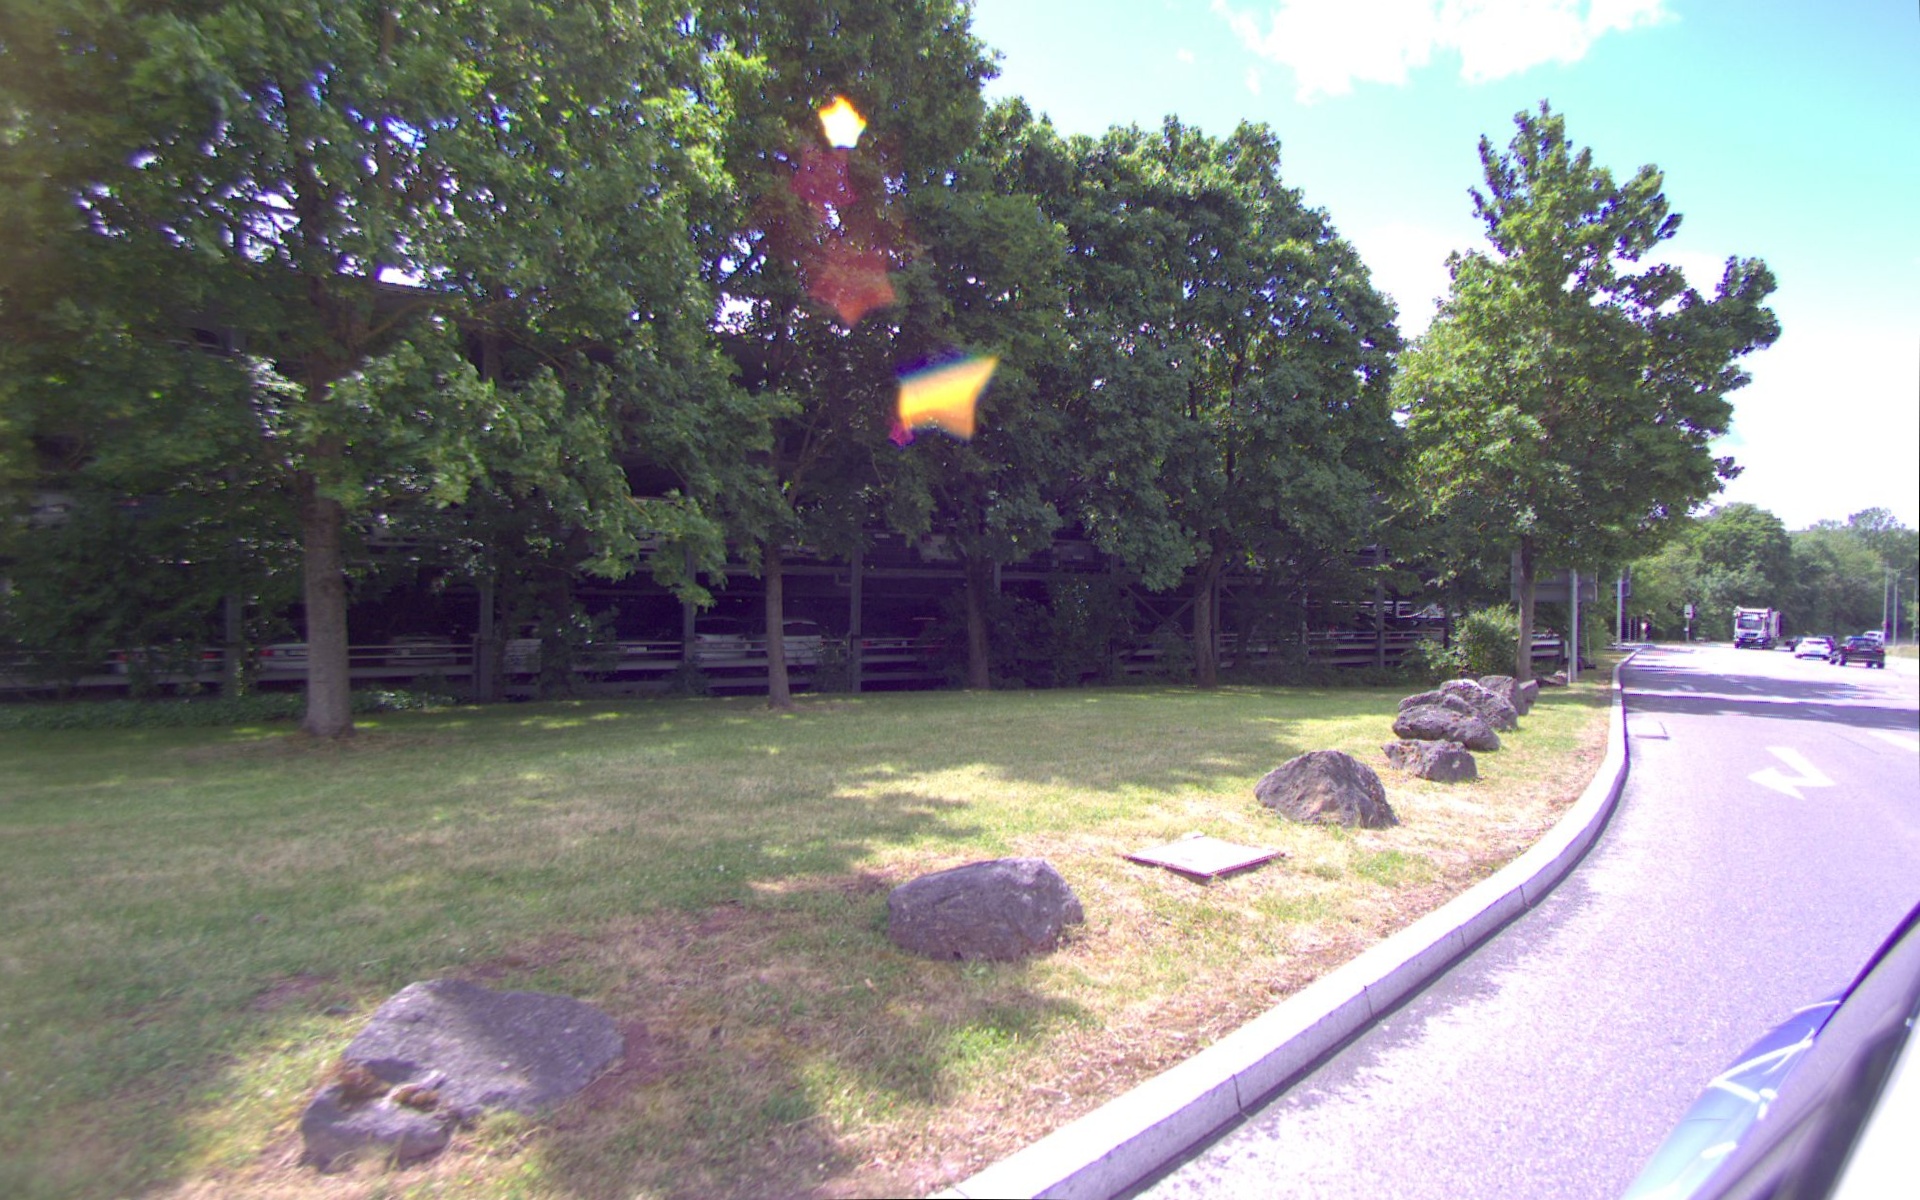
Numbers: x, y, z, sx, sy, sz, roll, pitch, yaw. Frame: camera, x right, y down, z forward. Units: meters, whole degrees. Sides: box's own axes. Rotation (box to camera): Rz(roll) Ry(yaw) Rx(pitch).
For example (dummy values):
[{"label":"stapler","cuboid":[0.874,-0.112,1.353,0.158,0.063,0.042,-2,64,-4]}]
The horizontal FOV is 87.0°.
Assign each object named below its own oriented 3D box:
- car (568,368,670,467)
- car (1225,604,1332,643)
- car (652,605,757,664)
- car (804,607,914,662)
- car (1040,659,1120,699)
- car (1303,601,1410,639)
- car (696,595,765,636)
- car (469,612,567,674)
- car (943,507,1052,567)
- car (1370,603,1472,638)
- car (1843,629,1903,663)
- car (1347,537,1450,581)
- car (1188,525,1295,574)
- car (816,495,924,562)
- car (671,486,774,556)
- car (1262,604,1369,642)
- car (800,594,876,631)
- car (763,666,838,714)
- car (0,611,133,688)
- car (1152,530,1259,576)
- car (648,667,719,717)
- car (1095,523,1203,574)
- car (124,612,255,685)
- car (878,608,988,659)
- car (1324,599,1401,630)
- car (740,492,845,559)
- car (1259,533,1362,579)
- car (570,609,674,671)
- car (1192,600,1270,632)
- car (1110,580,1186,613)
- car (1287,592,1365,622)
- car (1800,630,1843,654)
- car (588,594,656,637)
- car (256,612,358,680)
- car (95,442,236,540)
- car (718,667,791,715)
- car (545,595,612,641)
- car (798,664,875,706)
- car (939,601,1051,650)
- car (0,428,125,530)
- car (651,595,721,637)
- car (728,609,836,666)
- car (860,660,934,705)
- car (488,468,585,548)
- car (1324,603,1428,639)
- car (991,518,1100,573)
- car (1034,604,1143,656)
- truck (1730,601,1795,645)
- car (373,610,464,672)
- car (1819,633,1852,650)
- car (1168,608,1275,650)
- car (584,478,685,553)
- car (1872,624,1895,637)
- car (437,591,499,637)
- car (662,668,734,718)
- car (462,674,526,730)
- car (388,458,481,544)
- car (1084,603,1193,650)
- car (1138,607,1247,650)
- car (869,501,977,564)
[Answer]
[{"label":"car","cuboid":[-8.910,-4.622,26.228,1.831,1.683,4.003,0,-2,-29]},{"label":"car","cuboid":[12.364,0.884,39.508,1.661,1.410,3.861,1,0,-31]},{"label":"car","cuboid":[-6.986,0.890,27.395,1.741,1.410,3.802,1,0,-31]},{"label":"car","cuboid":[-2.997,0.961,29.447,1.741,1.410,3.802,1,0,-31]},{"label":"car","cuboid":[5.582,3.662,47.429,1.661,1.465,3.862,1,1,-31]},{"label":"car","cuboid":[16.145,0.778,41.325,1.661,1.410,3.861,1,0,-31]},{"label":"car","cuboid":[-9.063,0.591,39.770,1.563,1.388,3.788,1,1,-31]},{"label":"car","cuboid":[-10.923,1.007,24.874,1.741,1.309,3.802,1,0,-31]},{"label":"car","cuboid":[1.135,-1.937,32.086,1.692,1.640,3.707,3,-1,-30]},{"label":"car","cuboid":[20.253,0.898,44.599,1.661,1.410,3.861,1,0,-31]},{"label":"car","cuboid":[49.793,2.451,55.241,1.815,1.675,4.475,2,0,35]},{"label":"car","cuboid":[18.396,-1.671,42.614,1.626,1.640,3.707,3,-1,-30]},{"label":"car","cuboid":[10.398,-1.835,37.576,1.626,1.582,3.707,3,-1,-30]},{"label":"car","cuboid":[-2.686,-2.031,29.657,1.692,1.640,3.707,3,-1,-30]},{"label":"car","cuboid":[-6.553,-2.081,27.692,1.692,1.561,3.707,3,-1,-30]},{"label":"car","cuboid":[14.124,0.886,40.376,1.661,1.410,3.861,1,0,-31]},{"label":"car","cuboid":[-5.083,0.493,41.743,1.741,1.410,3.802,1,0,-31]},{"label":"car","cuboid":[-6.356,3.518,40.096,1.607,1.388,3.788,1,1,-31]},{"label":"car","cuboid":[-18.007,0.917,20.211,1.741,1.309,3.802,1,0,-31]},{"label":"car","cuboid":[8.849,-1.653,36.713,1.626,1.449,3.707,3,-1,-30]},{"label":"car","cuboid":[-10.387,3.377,37.842,1.607,1.388,3.788,1,1,-31]},{"label":"car","cuboid":[6.636,-1.781,35.863,1.692,1.561,3.707,3,-1,-30]},{"label":"car","cuboid":[-16.165,0.952,21.401,1.741,1.309,3.802,1,0,-31]},{"label":"car","cuboid":[-0.907,0.989,31.163,1.741,1.410,3.802,1,0,-31]},{"label":"car","cuboid":[23.669,0.812,59.658,1.733,1.570,3.941,1,2,-30]},{"label":"car","cuboid":[-4.779,-2.037,28.506,1.692,1.561,3.707,3,-1,-30]},{"label":"car","cuboid":[14.114,-1.747,40.918,1.626,1.640,3.707,3,-1,-30]},{"label":"car","cuboid":[-8.744,0.970,25.988,1.741,1.410,3.802,1,0,-31]},{"label":"car","cuboid":[14.188,0.815,53.197,1.661,1.504,3.862,1,1,-31]},{"label":"car","cuboid":[9.512,-0.200,51.500,1.661,1.504,3.862,1,1,-31]},{"label":"car","cuboid":[20.349,0.366,56.457,1.718,1.460,3.862,1,1,-31]},{"label":"car","cuboid":[59.616,2.891,70.082,1.760,1.460,3.853,2,1,33]},{"label":"car","cuboid":[-12.464,0.539,37.193,1.563,1.388,3.788,1,1,-31]},{"label":"car","cuboid":[-14.441,0.963,22.547,1.741,1.309,3.802,1,0,-31]},{"label":"car","cuboid":[-16.363,-2.161,21.029,1.692,1.561,3.707,3,-1,-30]},{"label":"car","cuboid":[-8.021,3.480,39.226,1.607,1.388,3.788,1,1,-31]},{"label":"car","cuboid":[-13.509,0.602,35.704,1.563,1.388,3.788,1,1,-31]},{"label":"car","cuboid":[-5.124,3.458,41.653,1.741,1.349,3.802,1,0,-31]},{"label":"car","cuboid":[1.048,0.776,32.148,1.741,1.410,3.861,1,0,-31]},{"label":"car","cuboid":[-18.017,-2.330,19.976,1.692,1.561,3.707,3,-1,-30]},{"label":"car","cuboid":[-10.437,0.581,38.397,1.563,1.388,3.788,1,1,-31]},{"label":"car","cuboid":[-5.054,1.014,28.413,1.741,1.410,3.802,1,0,-31]},{"label":"car","cuboid":[-2.737,3.470,43.170,1.607,1.465,3.788,1,1,-31]},{"label":"car","cuboid":[-10.526,-2.196,25.035,1.692,1.561,3.707,3,-1,-30]},{"label":"car","cuboid":[17.592,0.860,42.934,1.661,1.410,3.861,1,0,-31]},{"label":"car","cuboid":[2.736,-1.727,33.076,1.692,1.561,3.707,3,-1,-30]},{"label":"car","cuboid":[4.358,0.987,34.838,1.661,1.647,3.861,1,0,-31]},{"label":"truck","cuboid":[77.895,2.164,98.152,9.704,3.908,3.238,1,2,-42]},{"label":"car","cuboid":[-13.141,0.934,24.459,1.741,1.309,3.802,1,0,-31]},{"label":"car","cuboid":[91.706,4.384,105.985,4.545,1.577,1.827,3,0,-40]},{"label":"car","cuboid":[9.811,1.059,38.244,1.661,1.410,3.861,1,0,-31]},{"label":"car","cuboid":[-8.481,-2.109,26.180,1.692,1.561,3.707,3,-1,-30]},{"label":"car","cuboid":[127.295,4.196,139.437,3.833,1.817,1.841,1,-2,-40]},{"label":"car","cuboid":[-16.848,0.450,34.591,1.563,1.388,3.788,1,1,-31]},{"label":"car","cuboid":[-9.877,3.448,37.964,1.607,1.388,3.788,1,1,-31]},{"label":"car","cuboid":[-15.974,3.433,34.610,1.607,1.388,3.788,1,1,-31]},{"label":"car","cuboid":[-12.269,-2.217,23.509,1.692,1.561,3.707,3,-1,-30]},{"label":"car","cuboid":[6.255,0.913,35.810,1.661,1.508,3.861,1,0,-31]},{"label":"car","cuboid":[8.386,1.008,36.823,1.661,1.410,3.861,1,0,-31]},{"label":"car","cuboid":[-1.184,-1.994,30.858,1.692,1.640,3.707,3,-1,-30]}]
